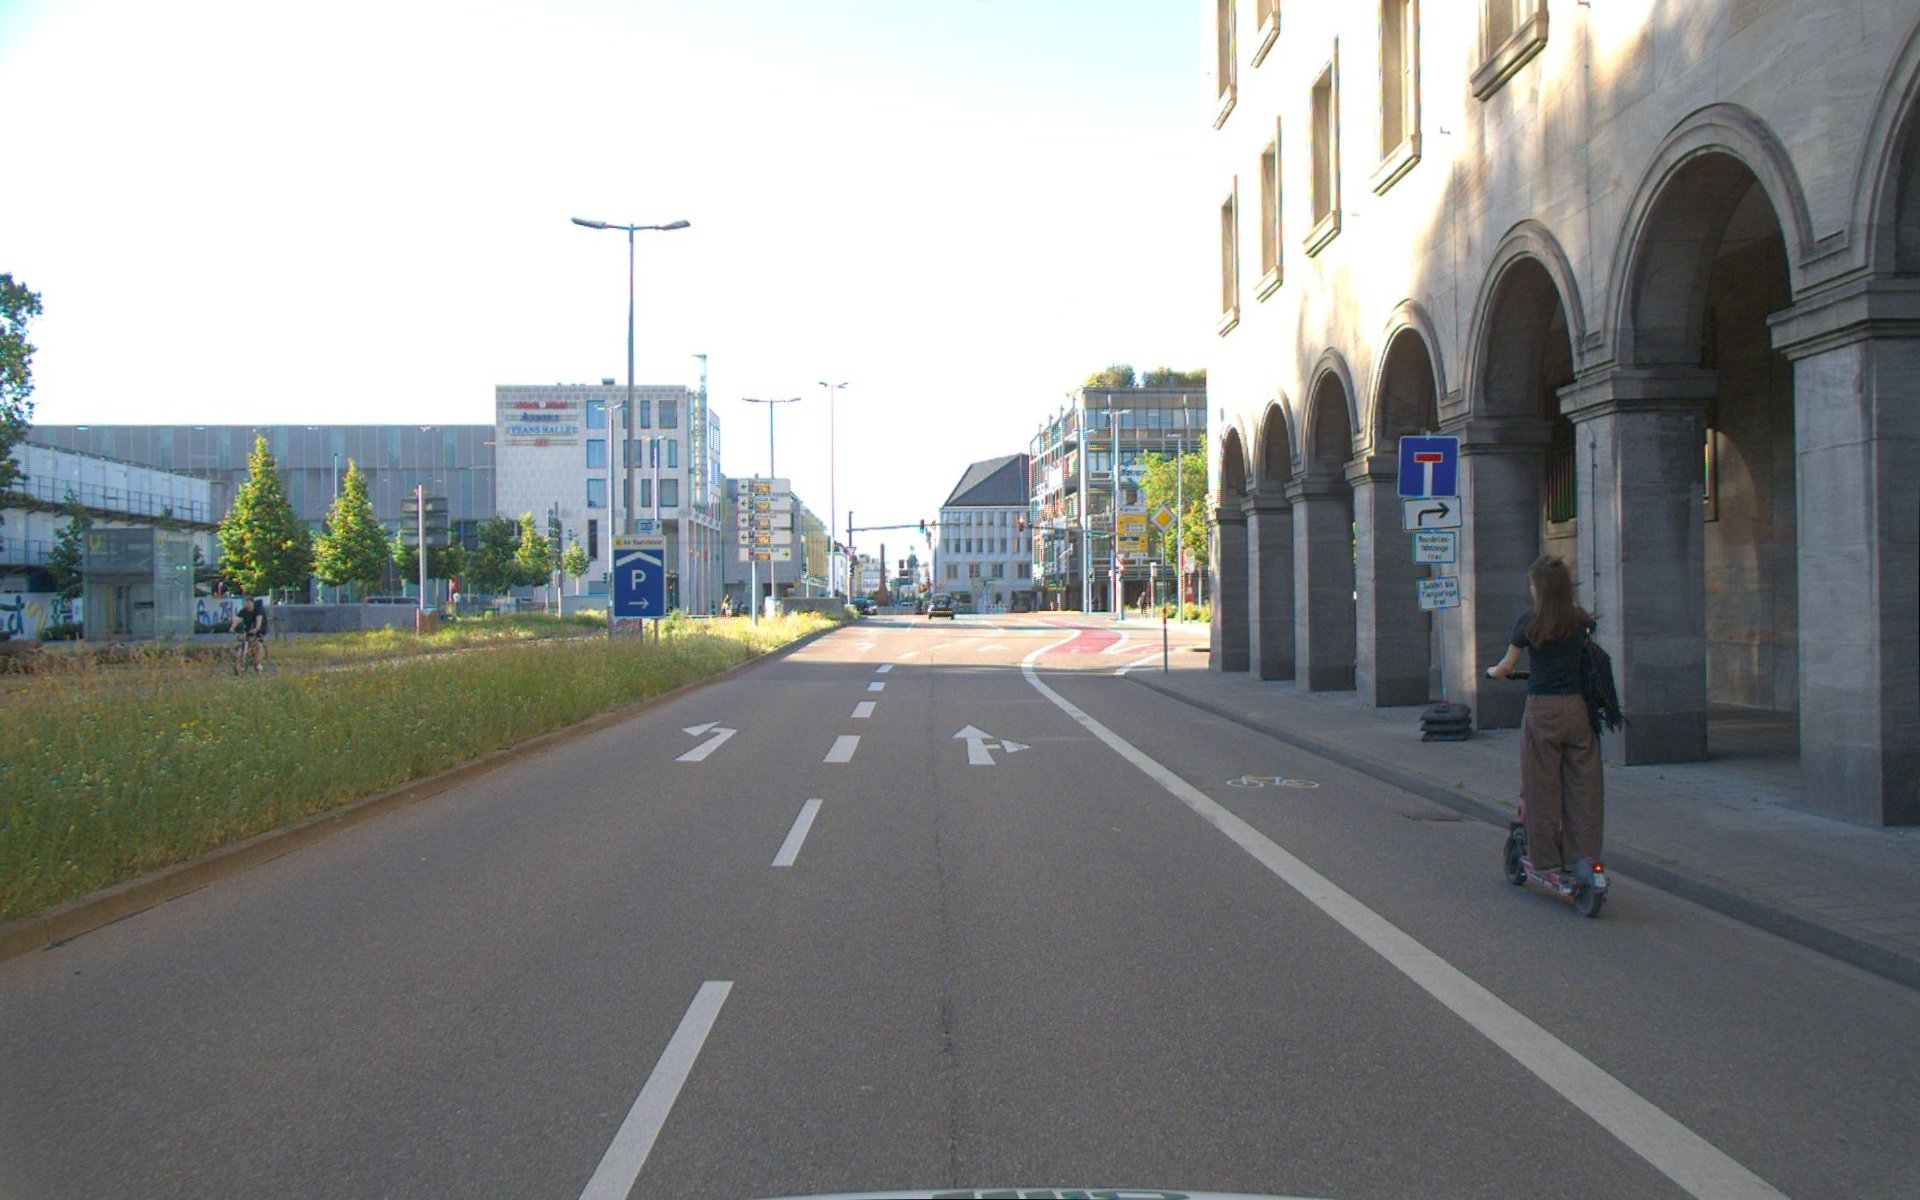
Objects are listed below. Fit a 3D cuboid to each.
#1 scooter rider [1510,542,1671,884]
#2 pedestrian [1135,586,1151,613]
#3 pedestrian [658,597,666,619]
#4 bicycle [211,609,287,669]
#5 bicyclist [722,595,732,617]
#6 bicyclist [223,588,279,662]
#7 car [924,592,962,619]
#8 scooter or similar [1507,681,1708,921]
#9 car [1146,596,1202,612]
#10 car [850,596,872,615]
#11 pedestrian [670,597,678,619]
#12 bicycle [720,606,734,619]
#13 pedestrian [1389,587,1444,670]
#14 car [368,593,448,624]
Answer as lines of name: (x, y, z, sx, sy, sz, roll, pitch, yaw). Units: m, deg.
scooter rider: (3.188, 0.552, 8.406, 0.549, 1.660, 0.650, -1, 0, 1)
pedestrian: (11.991, -0.033, 108.323, 0.804, 1.779, 1.042, -2, -1, 21)
pedestrian: (-27.021, 0.715, 149.931, 0.611, 2.049, 0.515, -1, 0, -9)
bicycle: (-15.863, 0.878, 36.961, 0.742, 1.297, 2.257, -1, -2, -1)
bicyclist: (-16.475, 0.409, 117.000, 0.594, 1.515, 0.681, -1, 0, 4)
bicyclist: (-15.876, 0.568, 37.041, 0.732, 1.618, 1.202, -1, -2, -1)
car: (-1.065, 0.342, 101.079, 1.743, 1.591, 3.781, -1, 0, -9)
scooter or similar: (3.195, 0.961, 8.248, 0.544, 1.049, 1.117, -1, 0, -1)
car: (18.762, 0.346, 145.032, 4.540, 1.380, 1.998, -1, 1, -5)
car: (-9.699, 0.539, 162.957, 1.953, 1.773, 4.645, -1, 1, -1)
pedestrian: (-25.964, 0.712, 150.185, 0.611, 2.049, 0.515, -1, 0, -9)
bicycle: (-16.468, 0.856, 117.003, 0.599, 0.877, 1.952, -1, 0, 4)
pedestrian: (8.978, 0.544, 32.553, 0.761, 1.597, 0.952, -1, 0, -3)
car: (-35.278, 0.559, 105.730, 4.553, 1.842, 1.868, -1, -2, -9)
